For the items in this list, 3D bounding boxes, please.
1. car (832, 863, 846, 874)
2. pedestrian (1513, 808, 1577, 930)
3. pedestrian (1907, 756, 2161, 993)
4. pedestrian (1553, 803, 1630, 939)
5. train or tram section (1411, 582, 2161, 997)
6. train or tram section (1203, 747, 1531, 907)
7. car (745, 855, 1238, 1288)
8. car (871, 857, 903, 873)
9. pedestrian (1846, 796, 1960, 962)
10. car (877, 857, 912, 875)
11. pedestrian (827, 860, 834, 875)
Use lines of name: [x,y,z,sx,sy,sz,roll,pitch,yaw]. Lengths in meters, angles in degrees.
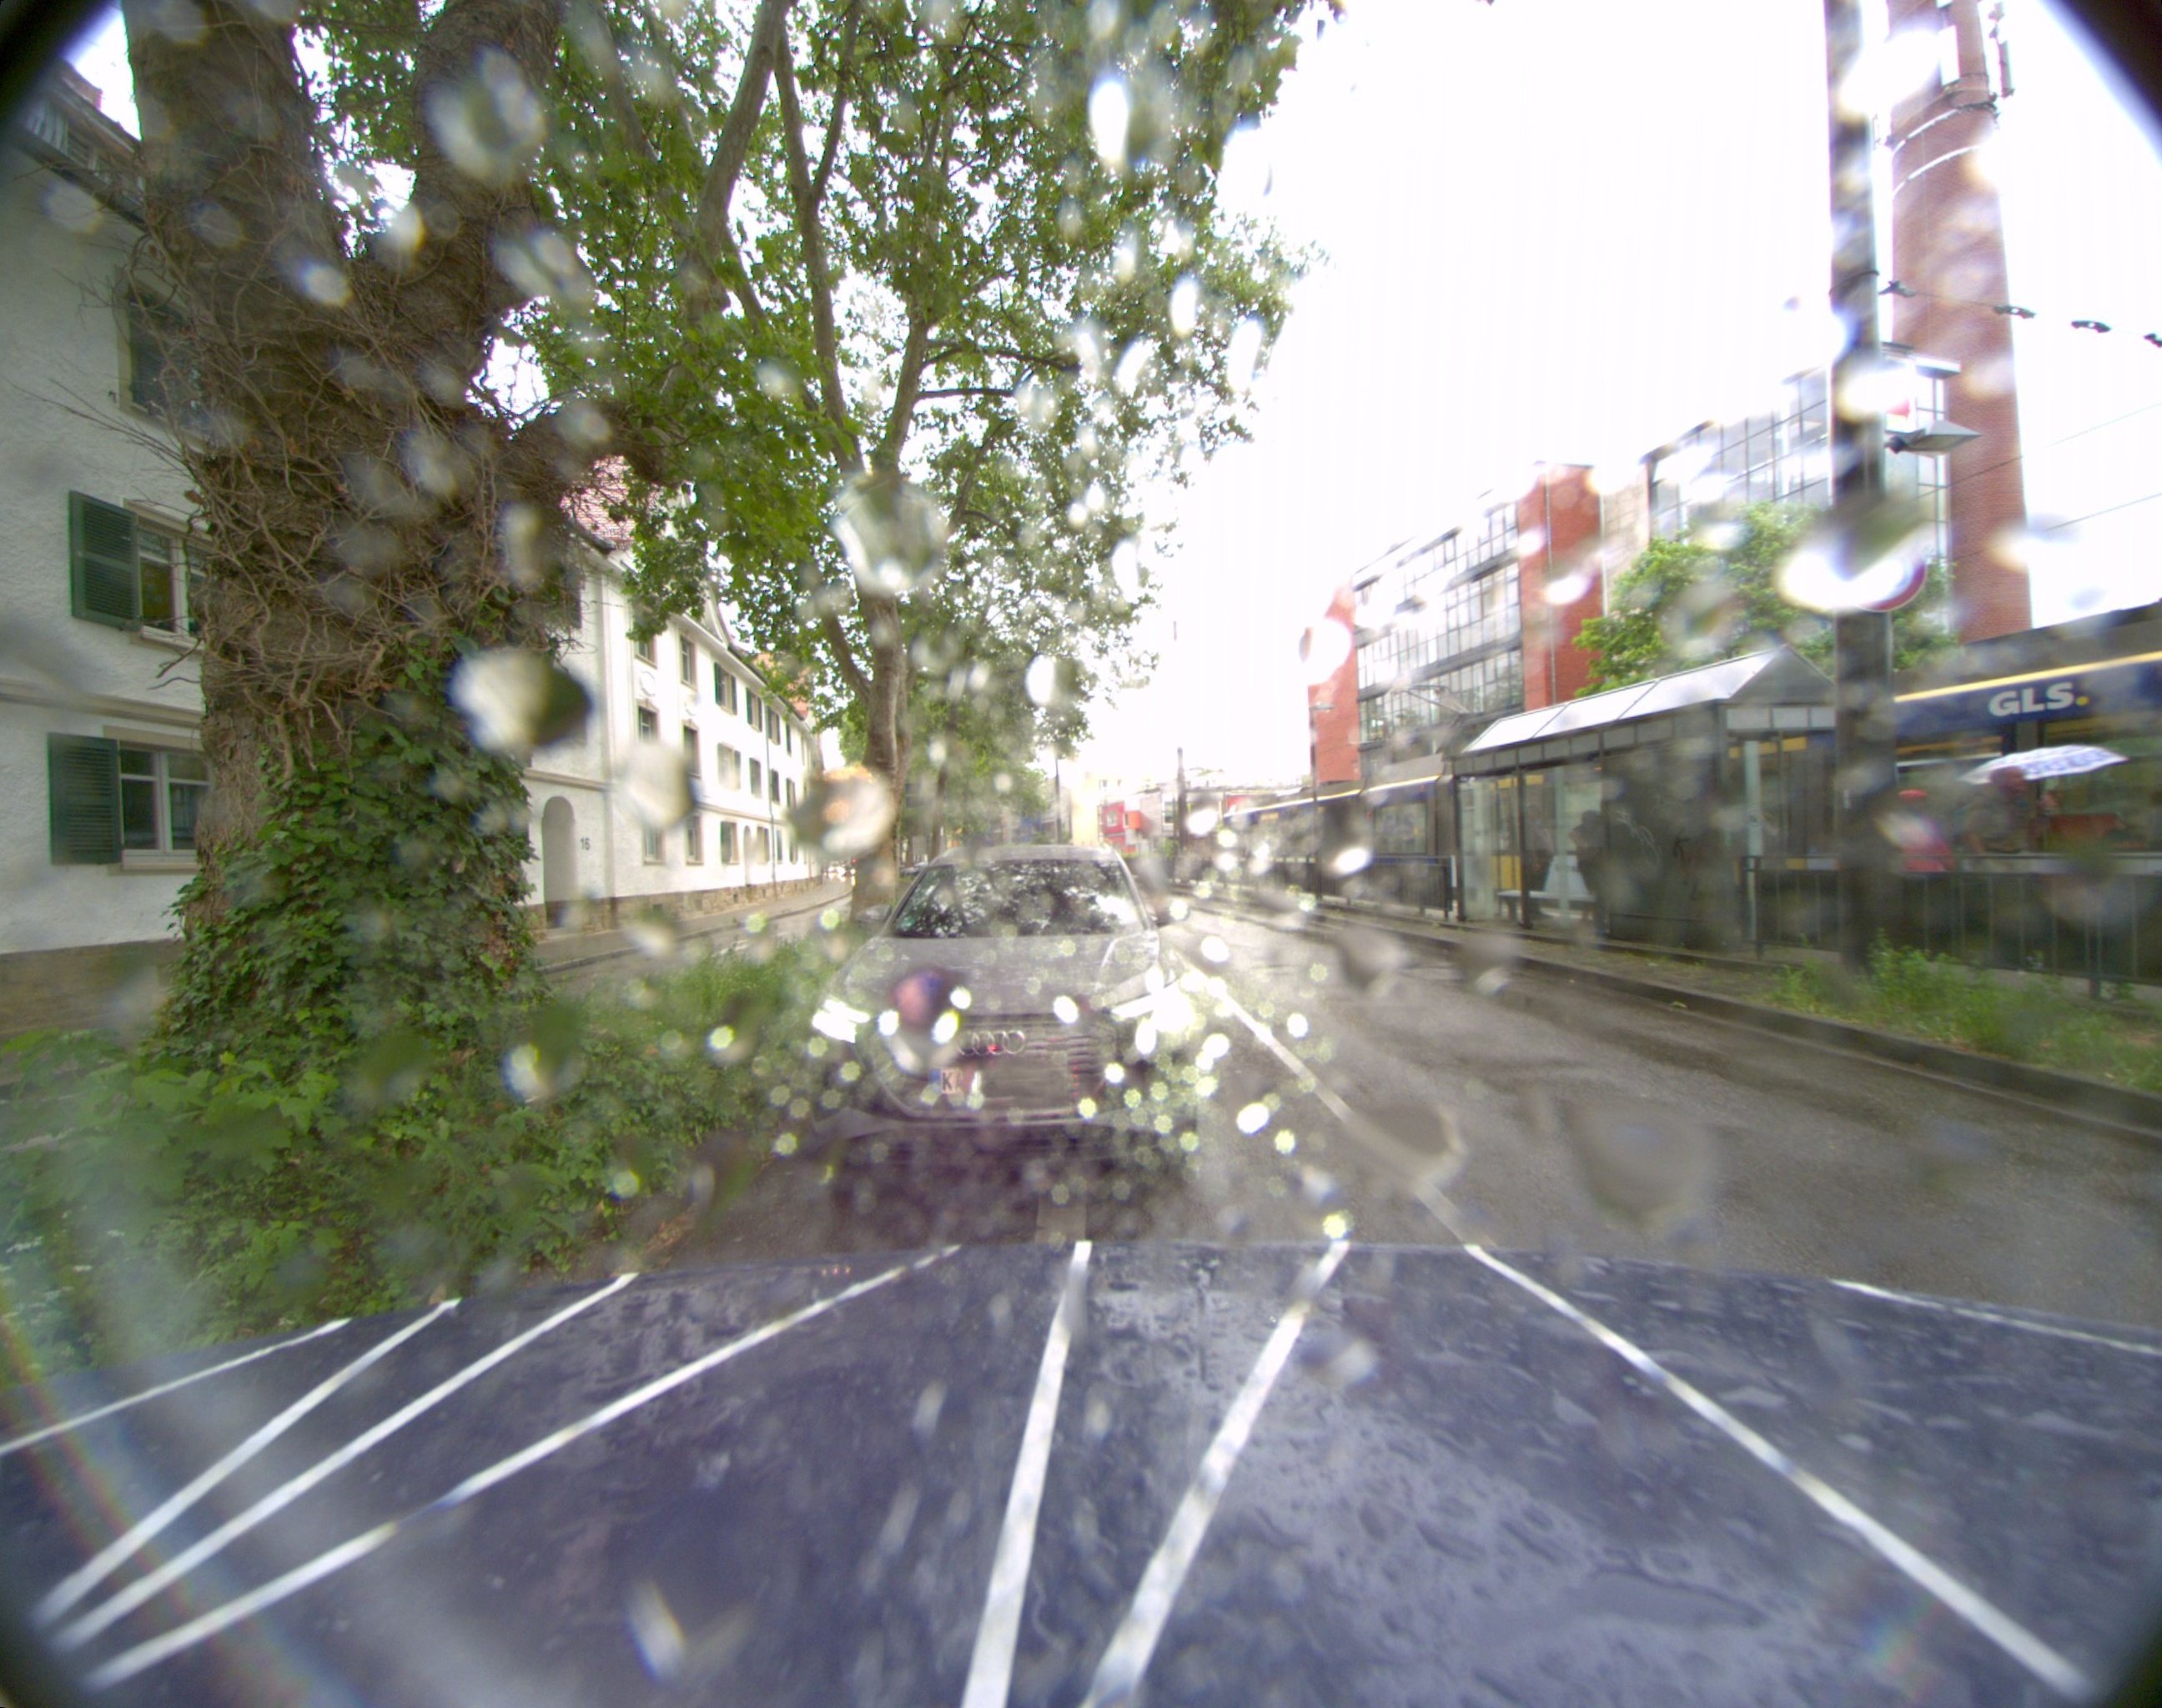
car: [-48.990,2.935,153.718,2.199,2.250,5.401,-3,0,-24]
pedestrian: [6.818,0.211,11.185,0.629,1.738,0.514,-2,1,9]
pedestrian: [8.070,0.174,6.419,0.986,1.815,1.076,0,-2,-10]
pedestrian: [6.733,0.221,10.041,0.629,1.738,0.564,-2,1,9]
train or tram section: [9.984,-0.596,10.479,2.869,3.525,13.704,-2,0,-9]
train or tram section: [7.771,-0.630,24.863,2.869,3.525,15.361,-2,0,-8]
car: [-0.413,0.876,5.116,1.917,1.632,4.106,-2,0,-2]
car: [-26.671,1.543,104.358,4.002,2.002,1.997,-2,0,-17]
pedestrian: [8.275,0.250,7.653,0.799,1.562,0.658,1,-2,-36]
car: [-23.213,1.507,94.654,4.002,2.002,1.997,-2,0,-17]
pedestrian: [-30.410,1.621,92.306,0.674,1.811,0.678,-3,1,-18]
